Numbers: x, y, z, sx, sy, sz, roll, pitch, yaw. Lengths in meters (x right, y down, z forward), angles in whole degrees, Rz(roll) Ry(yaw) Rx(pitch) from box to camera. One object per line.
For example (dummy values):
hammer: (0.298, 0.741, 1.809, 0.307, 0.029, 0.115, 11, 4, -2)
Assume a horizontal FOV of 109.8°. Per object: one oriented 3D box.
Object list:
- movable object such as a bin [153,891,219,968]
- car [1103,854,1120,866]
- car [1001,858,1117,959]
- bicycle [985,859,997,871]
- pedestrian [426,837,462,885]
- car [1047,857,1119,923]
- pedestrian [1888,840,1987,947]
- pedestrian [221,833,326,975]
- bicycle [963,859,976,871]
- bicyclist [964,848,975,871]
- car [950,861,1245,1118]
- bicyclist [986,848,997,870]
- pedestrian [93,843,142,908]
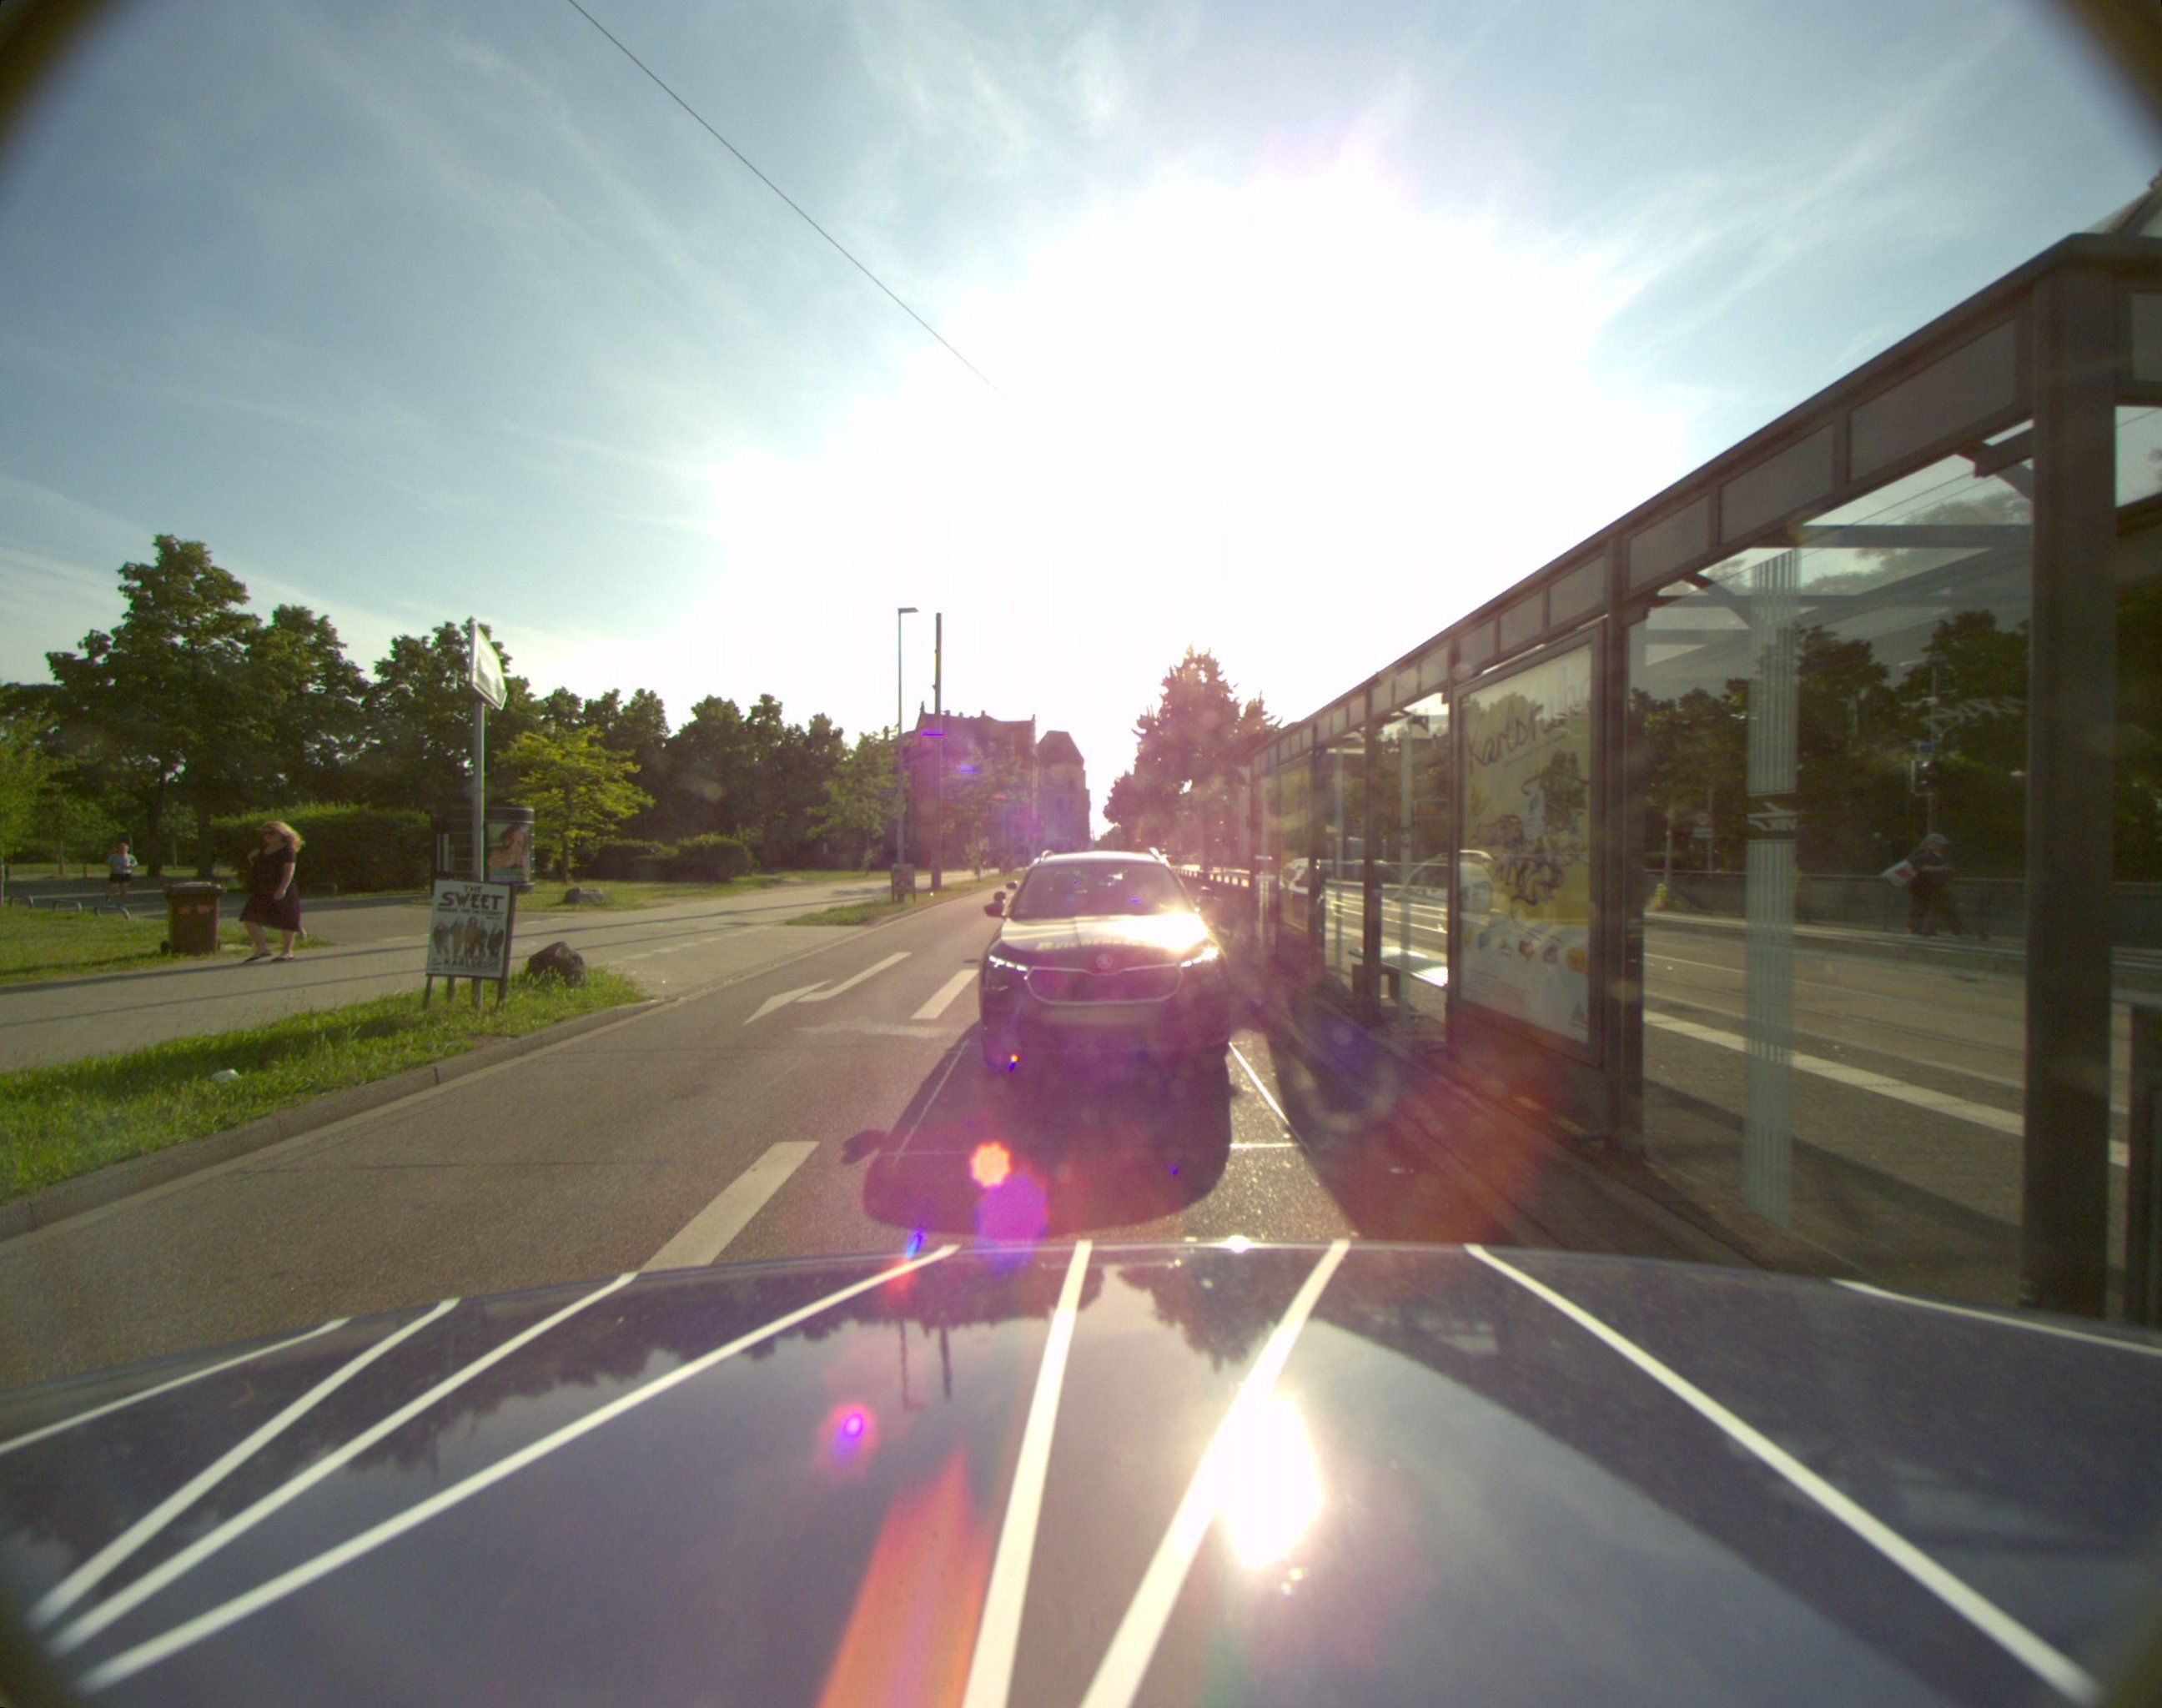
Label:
movable object such as a bin: (-11.375, 0.945, 9.657, 0.502, 0.898, 0.526, 1, 1, 39)
car: (4.082, 0.781, 101.754, 1.999, 1.674, 3.999, 0, 0, -1)
car: (-0.309, 0.843, 13.603, 1.781, 1.496, 4.000, 0, 0, 1)
bicycle: (-7.147, 0.835, 60.515, 0.740, 0.912, 2.094, 0, 0, 0)
pedestrian: (-29.304, 0.318, 34.962, 0.910, 2.145, 0.891, 0, 1, 13)
car: (0.074, 0.838, 19.447, 1.672, 1.496, 3.871, 0, 0, 1)
pedestrian: (13.307, 0.591, 11.826, 0.736, 1.618, 0.689, 0, 1, 1)
pedestrian: (-9.918, 0.591, 9.352, 0.558, 1.691, 0.662, 0, 1, 0)
bicycle: (-8.800, 0.880, 59.989, 0.740, 0.912, 2.094, 0, 0, 0)
bicyclist: (-8.789, 0.434, 60.010, 0.754, 1.763, 1.118, 0, 1, 0)
car: (0.124, 0.839, 6.605, 1.781, 1.496, 4.000, 0, 0, 1)
bicyclist: (-7.137, 0.410, 60.722, 0.730, 1.763, 1.015, 0, 1, 0)
pedestrian: (-24.788, 0.546, 19.548, 0.660, 1.641, 0.623, 1, 1, 26)
